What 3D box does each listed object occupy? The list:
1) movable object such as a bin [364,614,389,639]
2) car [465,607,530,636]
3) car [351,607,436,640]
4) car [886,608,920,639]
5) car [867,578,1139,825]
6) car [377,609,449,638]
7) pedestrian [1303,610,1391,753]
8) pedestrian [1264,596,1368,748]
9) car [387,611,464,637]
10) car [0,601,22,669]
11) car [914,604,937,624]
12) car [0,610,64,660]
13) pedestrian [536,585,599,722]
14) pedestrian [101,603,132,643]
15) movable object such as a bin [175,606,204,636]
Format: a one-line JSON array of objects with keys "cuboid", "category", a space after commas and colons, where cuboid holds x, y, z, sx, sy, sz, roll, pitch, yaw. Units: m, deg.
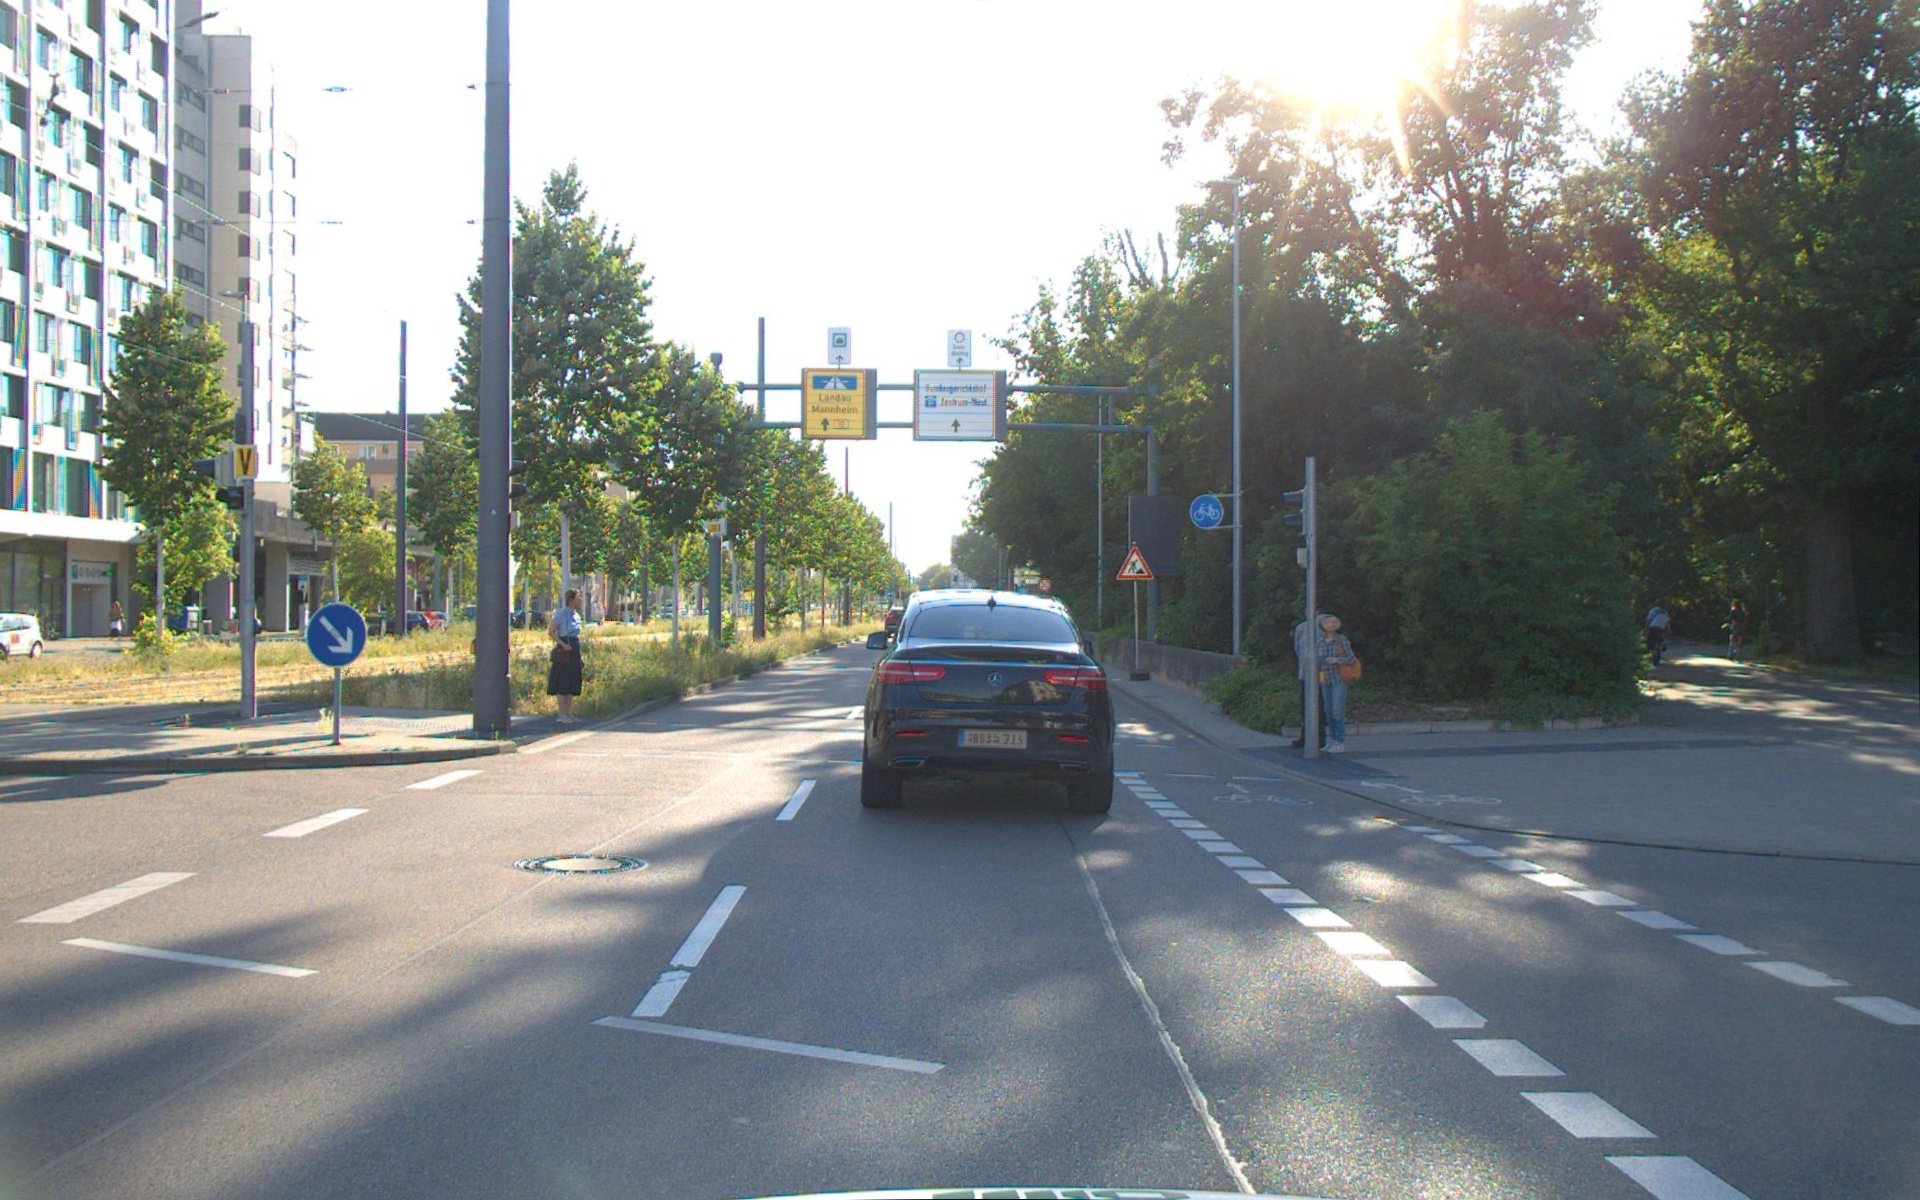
[{"cuboid": [-30.554, 1.392, 86.593, 0.839, 1.303, 0.940, 0, -1, 14], "category": "movable object such as a bin"}, {"cuboid": [-30.535, 1.426, 109.206, 3.724, 1.861, 1.798, 2, -1, -41], "category": "car"}, {"cuboid": [-31.421, 1.314, 91.734, 4.060, 1.629, 1.724, 3, -1, -42], "category": "car"}, {"cuboid": [-3.162, 1.286, 92.413, 1.847, 1.608, 3.999, 1, 0, -1], "category": "car"}, {"cuboid": [0.217, 0.745, 14.035, 1.954, 1.765, 3.998, 1, 0, -3], "category": "car"}, {"cuboid": [-31.517, 1.353, 95.391, 3.593, 1.550, 1.596, 3, -1, -42], "category": "car"}, {"cuboid": [4.657, 0.963, 19.951, 0.752, 1.665, 0.768, -2, 0, -10], "category": "pedestrian"}, {"cuboid": [4.471, 0.887, 20.778, 0.849, 1.834, 0.896, -2, 0, -35], "category": "pedestrian"}, {"cuboid": [-31.720, 1.432, 98.241, 1.754, 1.478, 3.977, 1, -1, 41], "category": "car"}, {"cuboid": [-20.256, 0.698, 31.678, 1.852, 1.367, 4.849, 0, 0, -1], "category": "car"}, {"cuboid": [-2.927, 1.160, 140.789, 1.847, 1.608, 3.999, 1, 0, -1], "category": "car"}, {"cuboid": [-30.762, 1.089, 53.022, 1.847, 1.518, 3.873, 1, 0, 1], "category": "car"}, {"cuboid": [-5.029, 0.672, 21.235, 0.586, 1.729, 0.714, 0, -1, 5], "category": "pedestrian"}, {"cuboid": [-36.263, 0.975, 71.094, 0.826, 1.682, 0.970, 0, 0, 1], "category": "pedestrian"}, {"cuboid": [-38.043, 1.023, 81.646, 0.784, 1.465, 1.403, 0, 0, 0], "category": "movable object such as a bin"}]
